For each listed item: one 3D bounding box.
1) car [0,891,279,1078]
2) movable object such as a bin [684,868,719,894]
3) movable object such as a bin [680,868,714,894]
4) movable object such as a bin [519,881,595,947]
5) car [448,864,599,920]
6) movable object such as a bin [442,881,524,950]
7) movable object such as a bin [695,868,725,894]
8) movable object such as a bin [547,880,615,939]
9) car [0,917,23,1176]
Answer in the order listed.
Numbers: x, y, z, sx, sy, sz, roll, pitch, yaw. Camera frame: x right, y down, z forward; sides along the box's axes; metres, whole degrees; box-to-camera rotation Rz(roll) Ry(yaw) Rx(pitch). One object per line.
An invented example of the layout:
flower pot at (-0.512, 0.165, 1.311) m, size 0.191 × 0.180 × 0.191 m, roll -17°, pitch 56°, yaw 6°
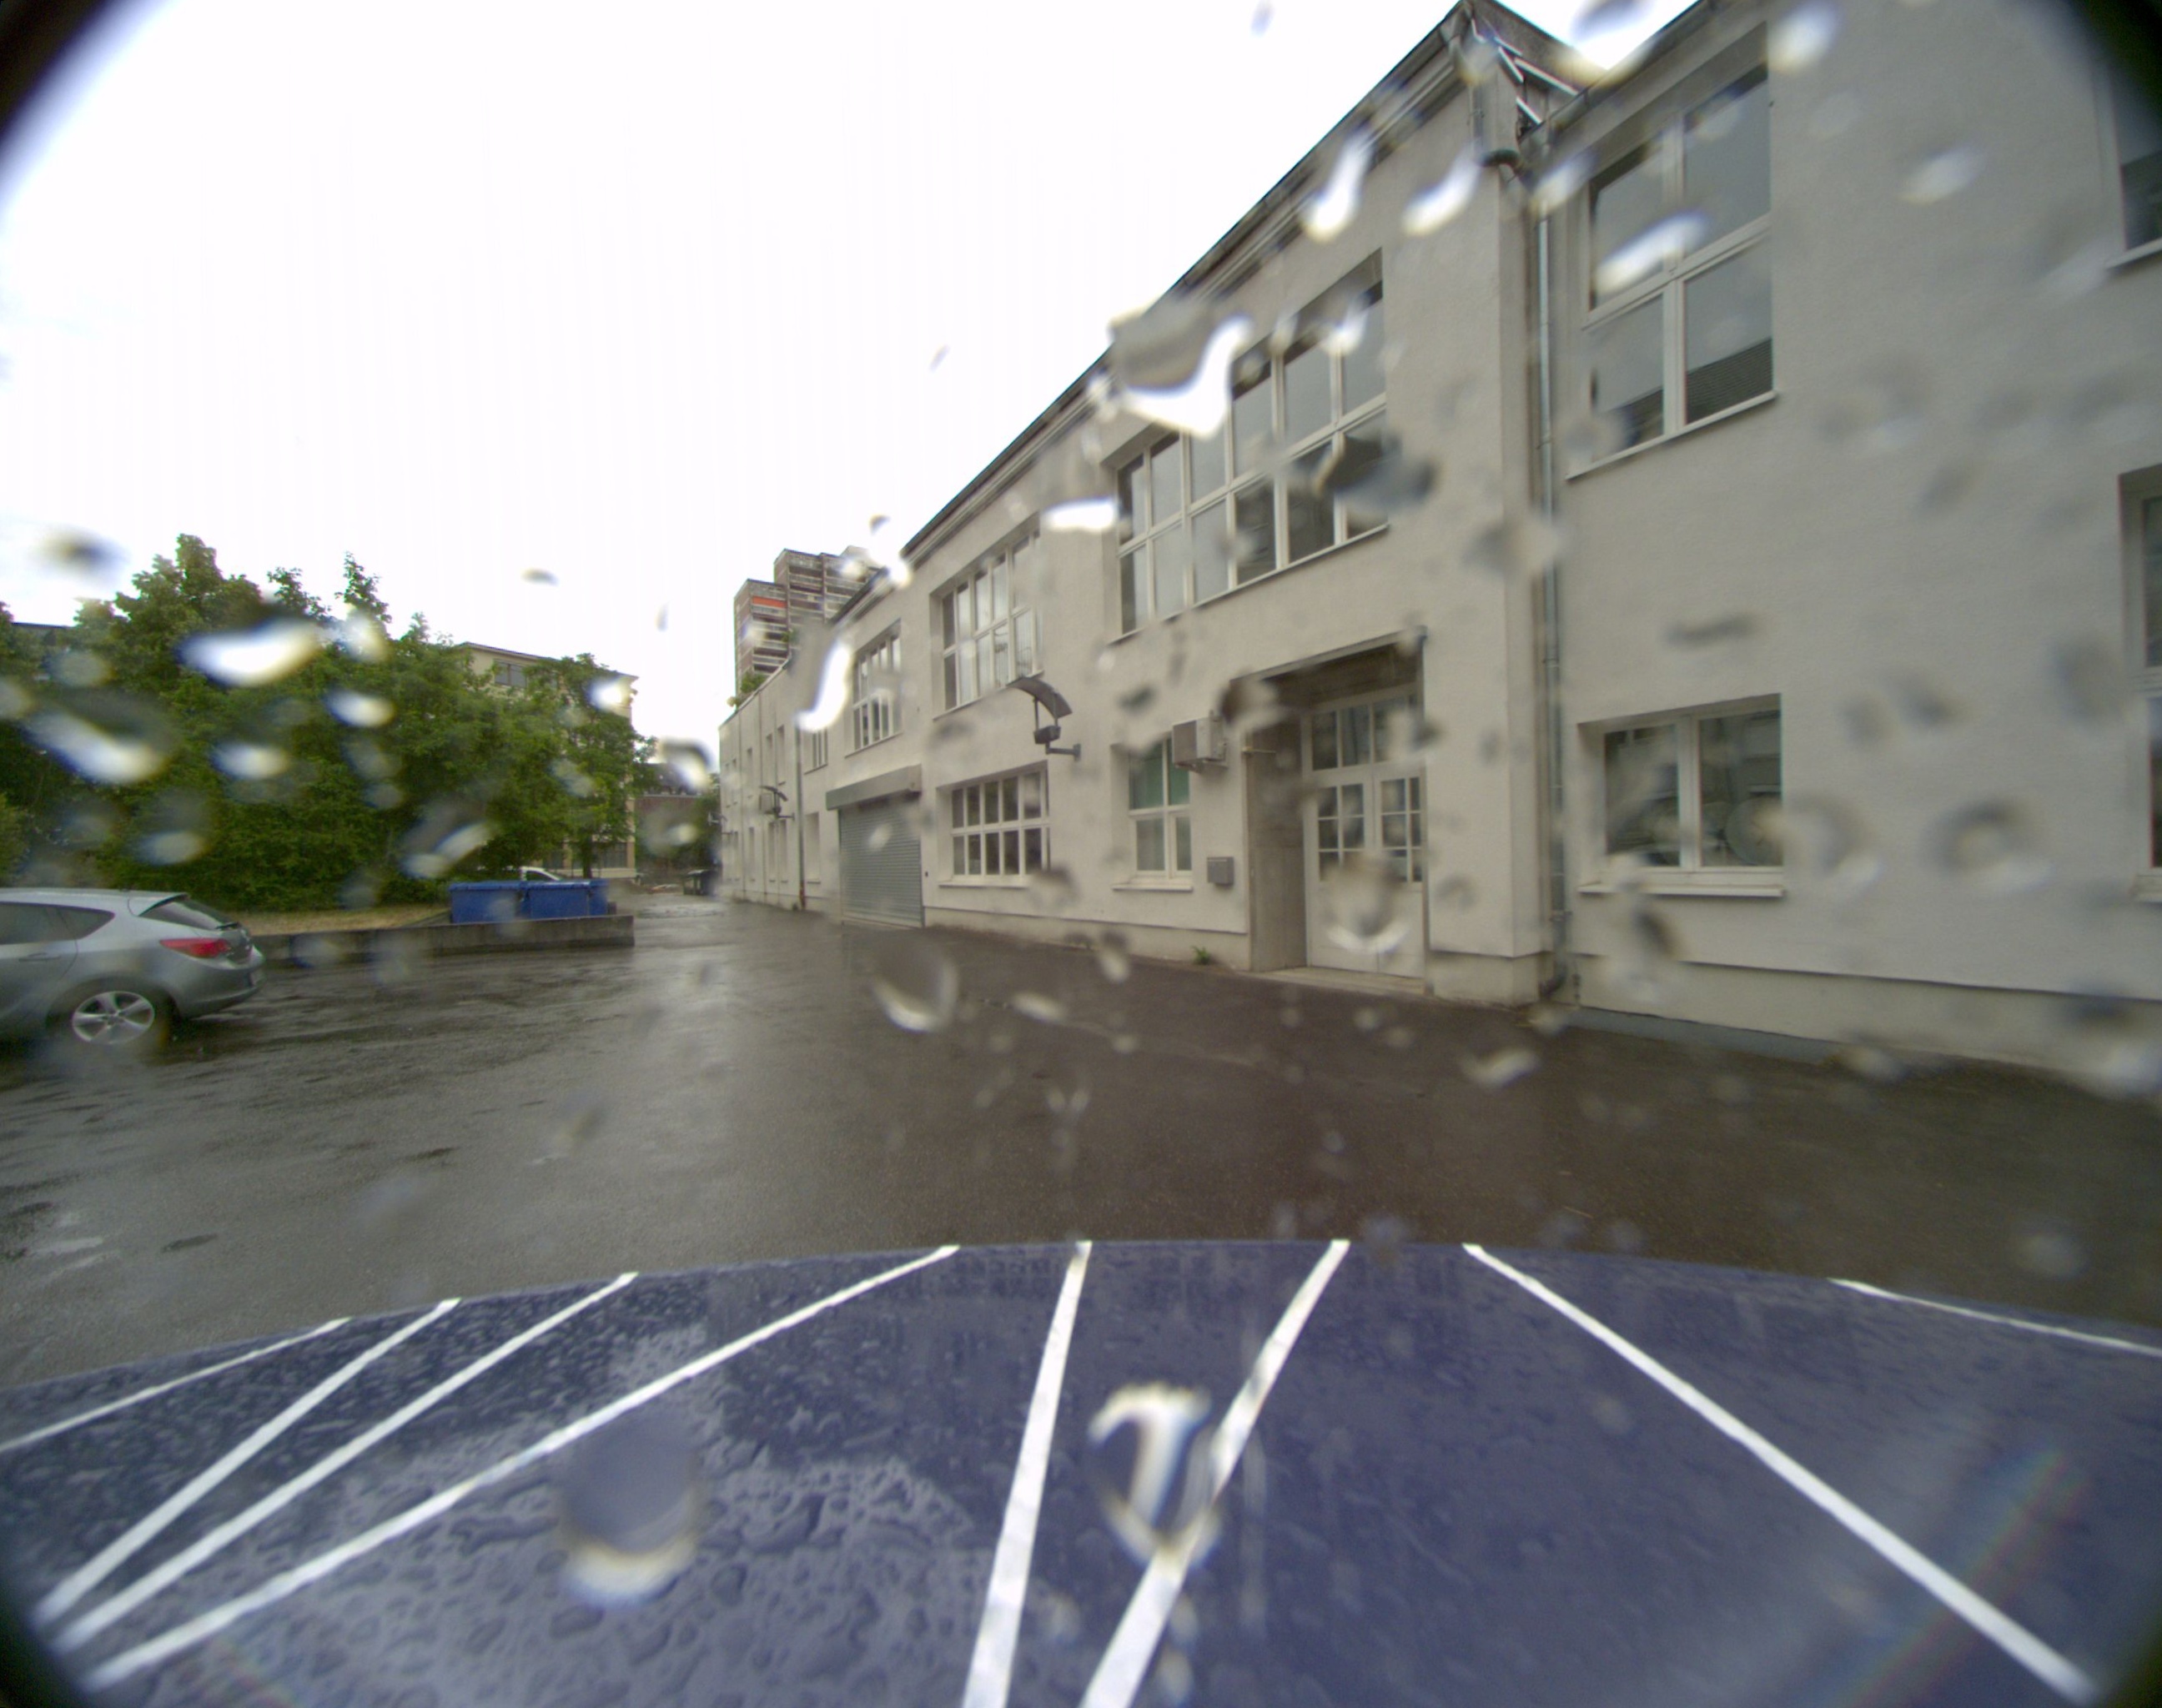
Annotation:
car at (-10.332, 1.186, 6.675) m, size 4.229 × 1.481 × 1.995 m, roll -2°, pitch -1°, yaw -38°
movable object such as a bin at (-22.023, 1.567, 44.130) m, size 1.495 × 1.440 × 1.310 m, roll -3°, pitch -1°, yaw -39°
movable object such as a bin at (-22.853, 1.607, 45.189) m, size 1.495 × 1.440 × 1.310 m, roll -3°, pitch -1°, yaw -39°
movable object such as a bin at (-12.126, 1.365, 17.626) m, size 1.316 × 1.349 × 1.901 m, roll -3°, pitch -1°, yaw -34°
car at (-22.418, 1.516, 30.840) m, size 4.705 × 1.870 × 2.119 m, roll -3°, pitch -2°, yaw -32°
movable object such as a bin at (-13.221, 1.331, 16.878) m, size 1.235 × 1.349 × 1.966 m, roll -3°, pitch -1°, yaw -34°
movable object such as a bin at (-20.963, 1.551, 42.973) m, size 1.190 × 1.366 × 1.310 m, roll -3°, pitch -1°, yaw -39°
movable object such as a bin at (-12.814, 1.397, 19.468) m, size 1.316 × 1.349 × 1.901 m, roll -3°, pitch -1°, yaw -34°
car at (-7.457, 1.136, 2.488) m, size 4.229 × 1.481 × 1.995 m, roll -2°, pitch -1°, yaw -38°
